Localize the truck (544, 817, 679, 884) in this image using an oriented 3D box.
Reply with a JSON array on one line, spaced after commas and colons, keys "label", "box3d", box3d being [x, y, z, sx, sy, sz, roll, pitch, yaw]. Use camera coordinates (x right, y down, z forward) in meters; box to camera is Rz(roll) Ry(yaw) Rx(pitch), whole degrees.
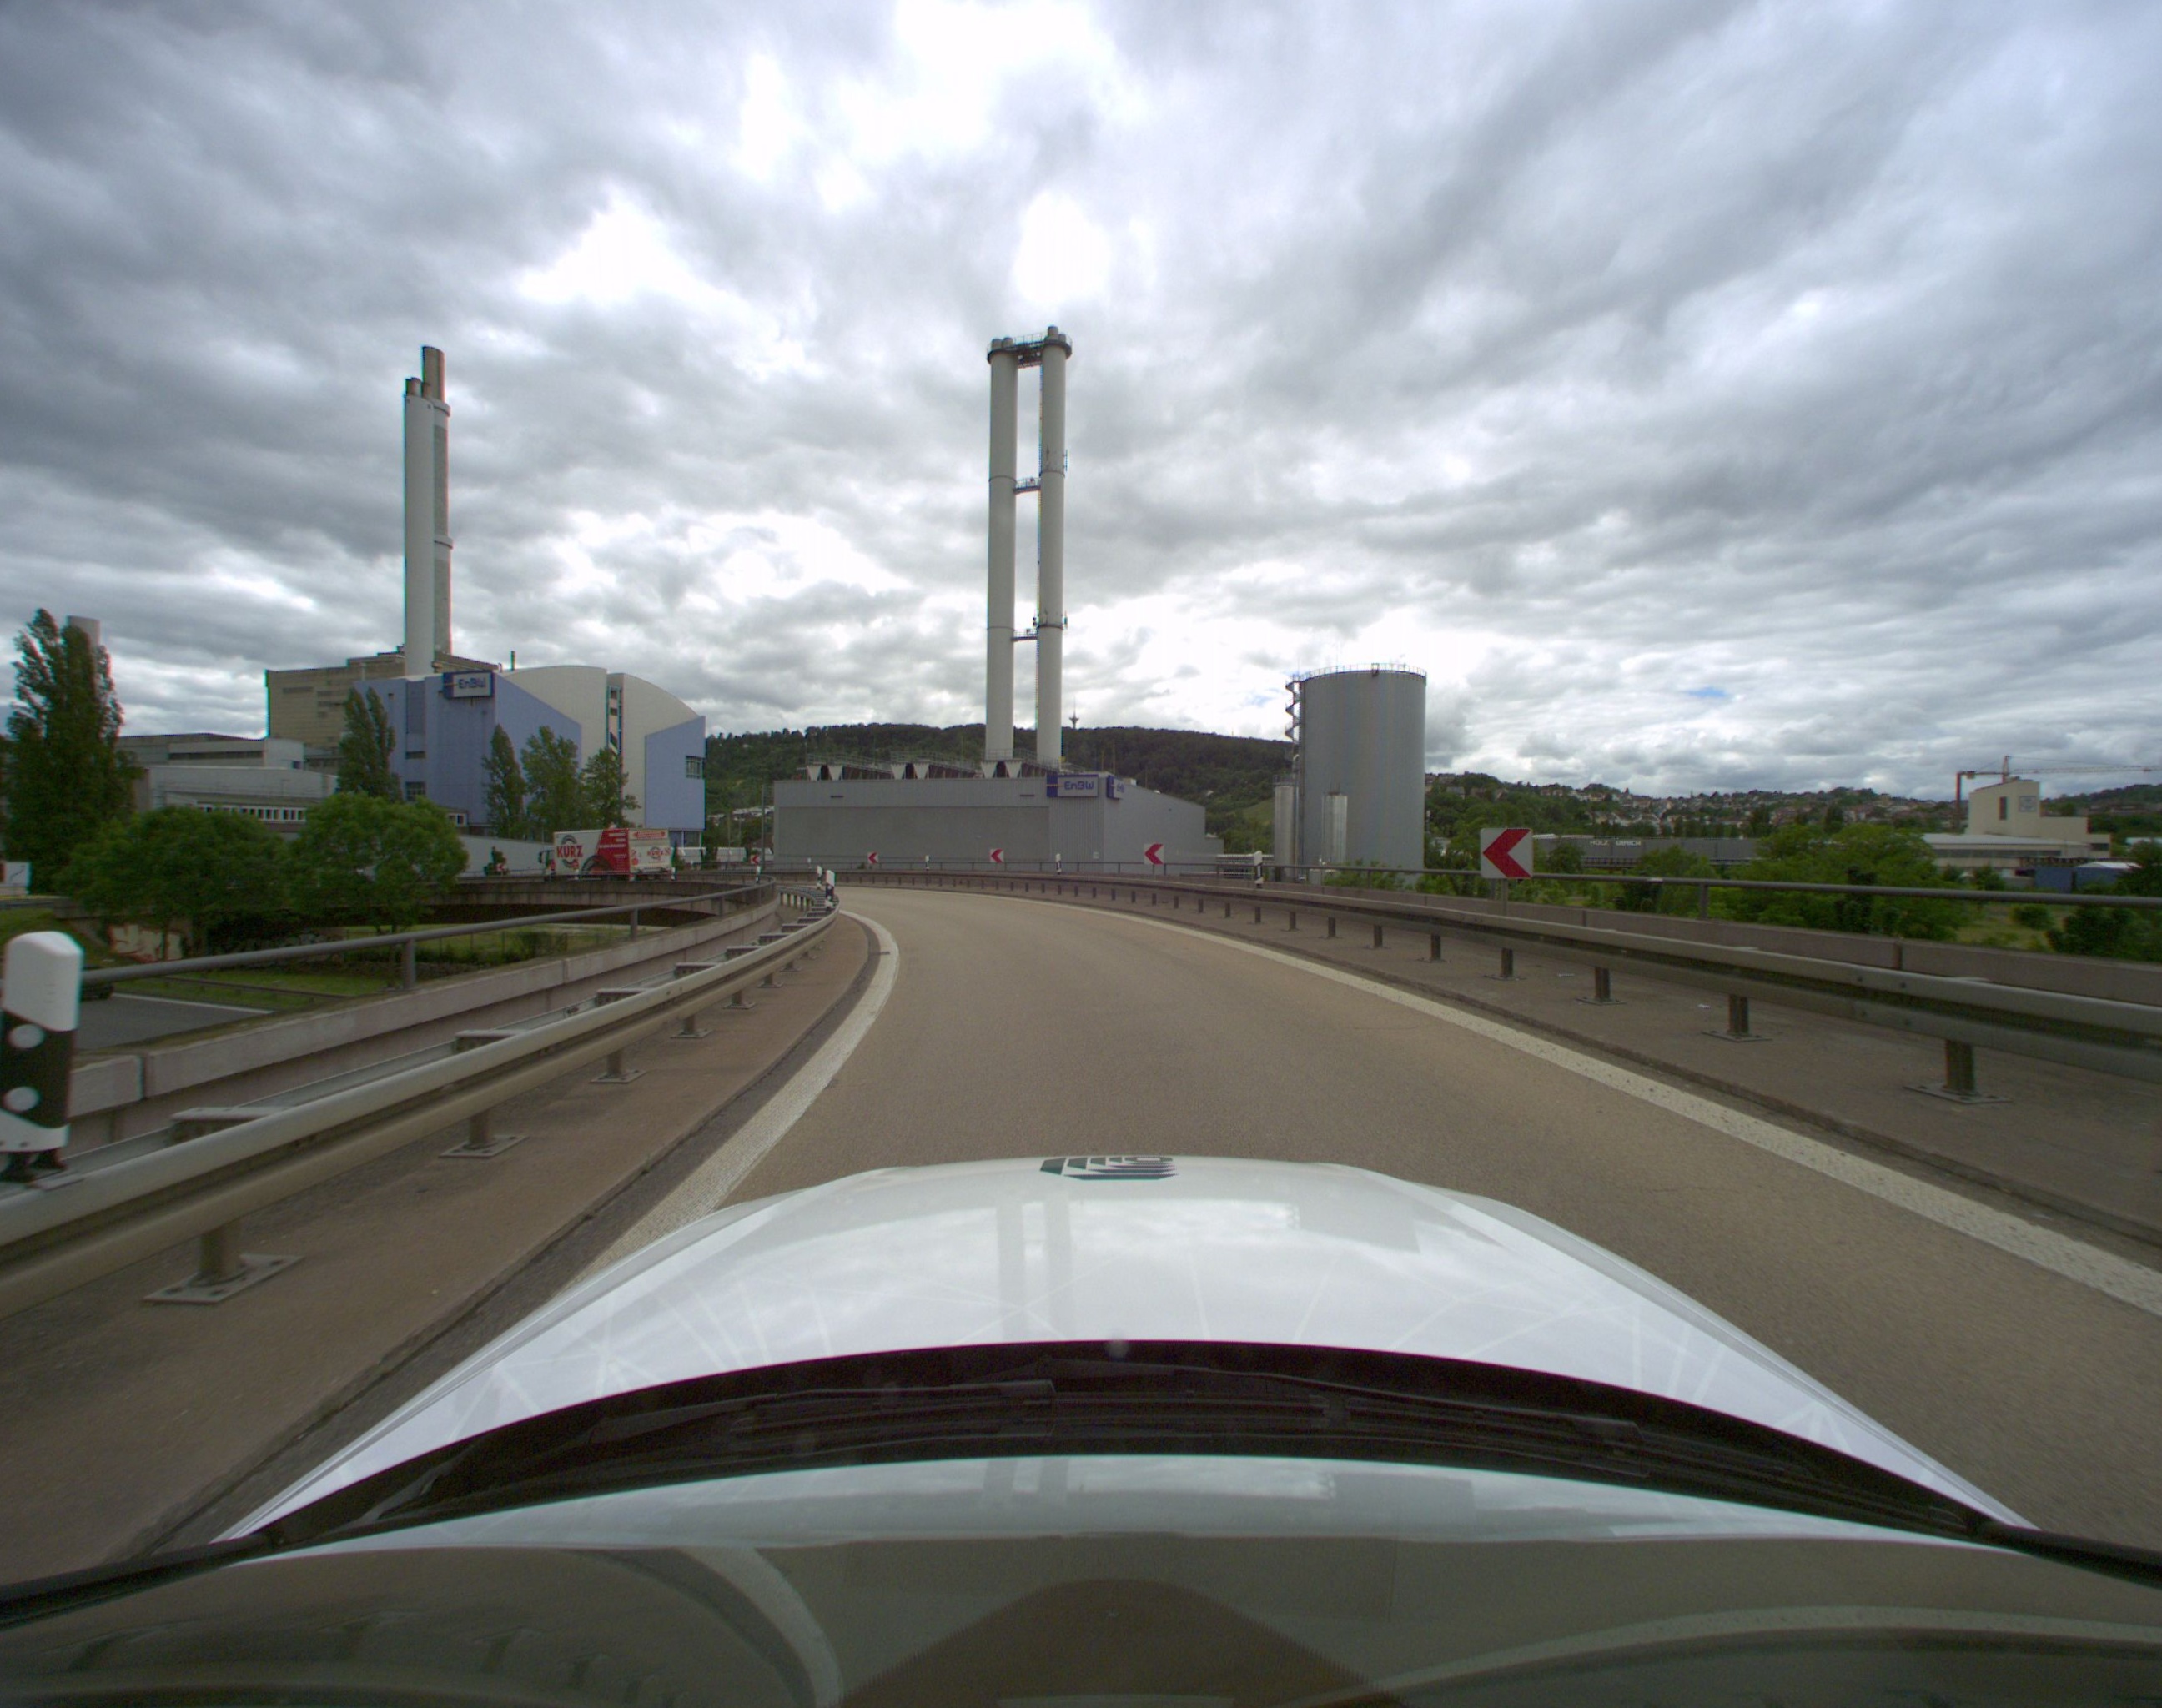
[{"label": "truck", "box3d": [-27.643, -0.159, 47.878, 7.827, 3.673, 3.079, 0, 0, 27]}]
